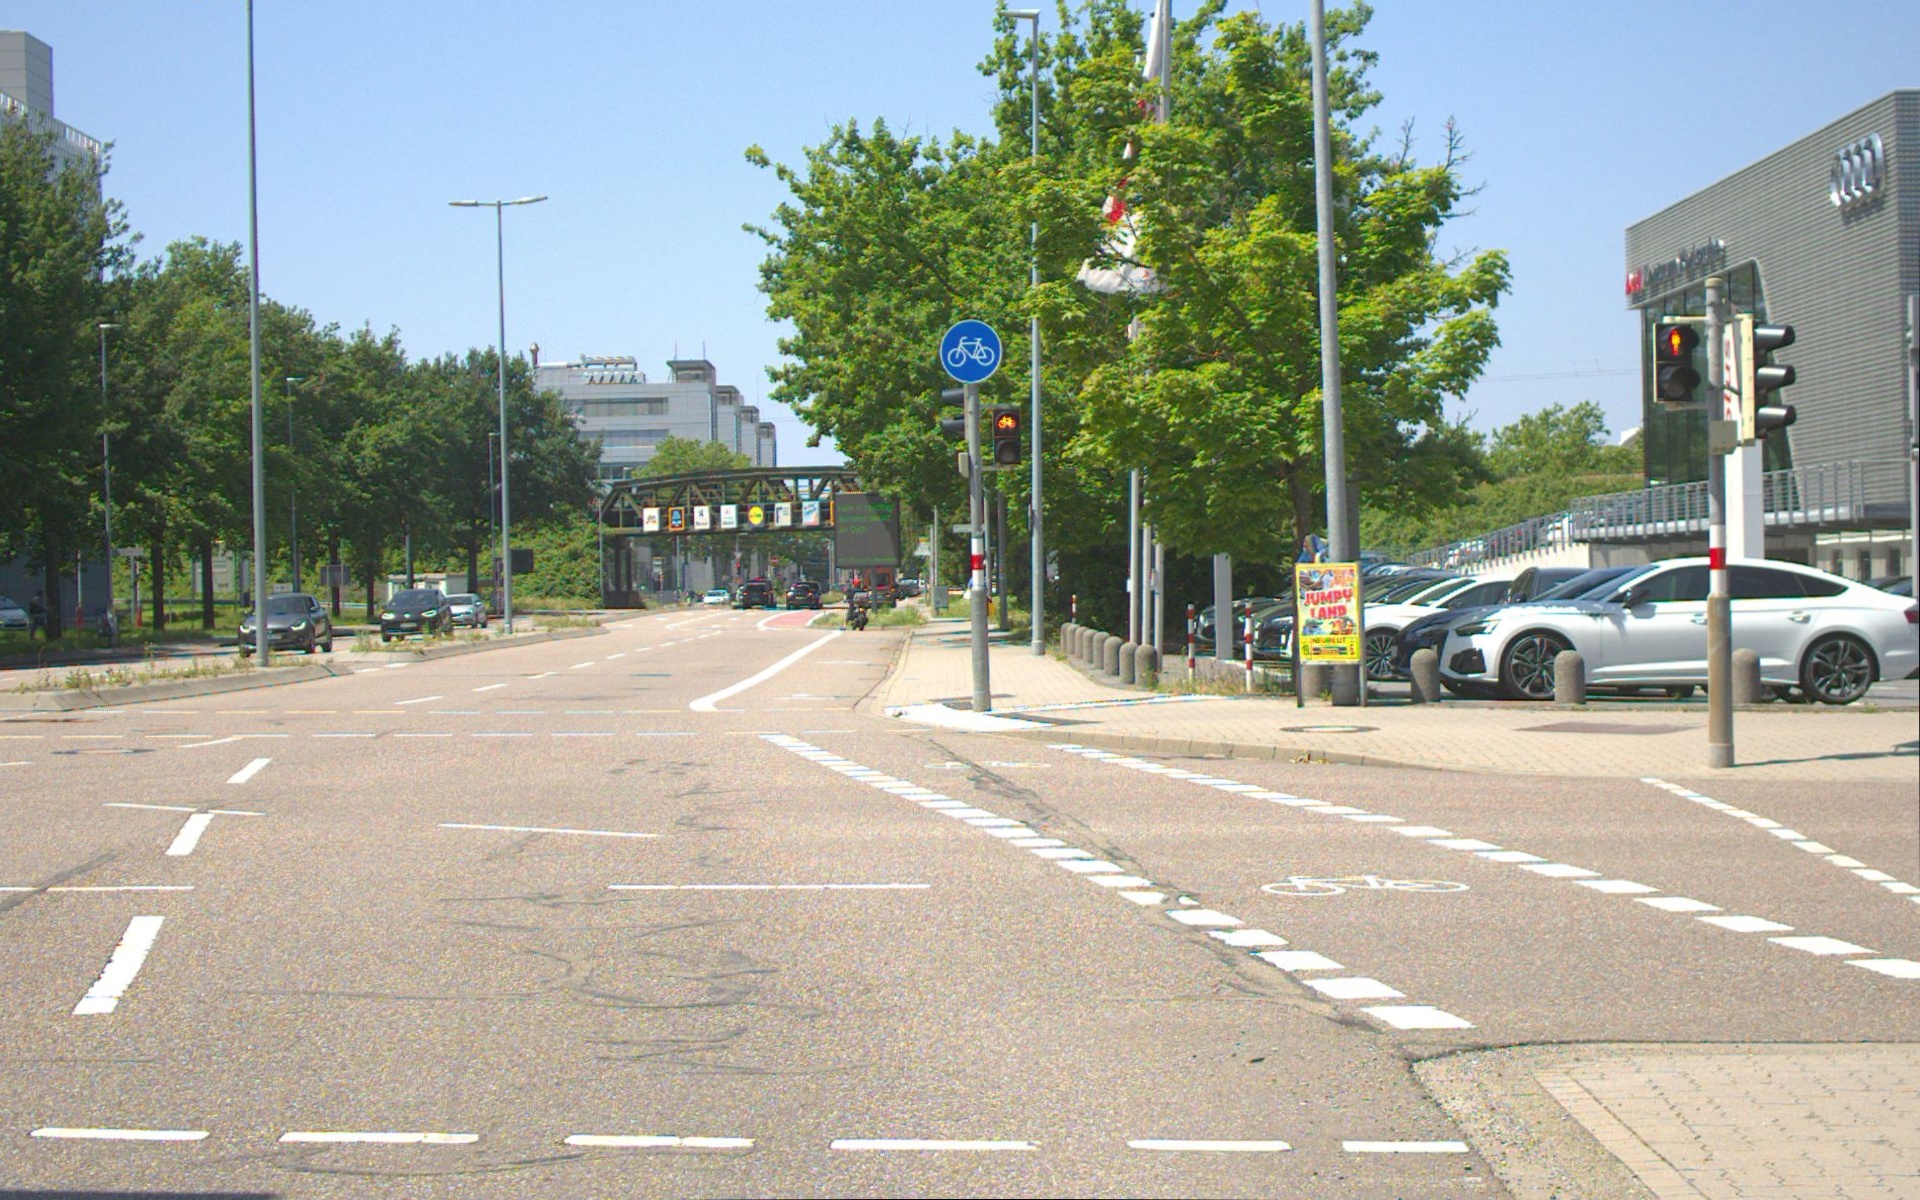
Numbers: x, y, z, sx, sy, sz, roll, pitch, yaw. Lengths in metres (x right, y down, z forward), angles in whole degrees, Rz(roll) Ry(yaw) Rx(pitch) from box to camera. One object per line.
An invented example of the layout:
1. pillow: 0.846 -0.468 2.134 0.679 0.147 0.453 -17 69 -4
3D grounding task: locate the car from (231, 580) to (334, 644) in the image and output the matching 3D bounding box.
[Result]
1. car: -16.199 0.274 82.327 1.732 1.422 3.706 -2 0 -1

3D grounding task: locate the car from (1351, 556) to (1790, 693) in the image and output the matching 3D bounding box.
1. car: 7.000 0.261 39.780 4.741 1.452 2.000 -1 1 2

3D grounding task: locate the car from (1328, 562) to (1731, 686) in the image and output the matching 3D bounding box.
1. car: 7.202 0.288 43.811 4.741 1.452 2.000 -1 1 -2

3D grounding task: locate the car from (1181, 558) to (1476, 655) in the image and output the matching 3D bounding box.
1. car: 6.264 0.098 58.823 4.741 1.452 2.000 -2 1 -2

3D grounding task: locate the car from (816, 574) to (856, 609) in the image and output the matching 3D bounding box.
1. car: -3.781 -0.267 105.202 1.137 1.038 2.308 -1 1 -1

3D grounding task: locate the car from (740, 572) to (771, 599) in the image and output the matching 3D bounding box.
1. car: -13.402 -0.968 225.568 1.772 1.722 4.000 -1 0 -1

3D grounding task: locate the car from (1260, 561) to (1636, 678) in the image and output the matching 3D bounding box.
1. car: 6.555 0.251 46.557 4.741 1.452 2.000 -1 1 -2

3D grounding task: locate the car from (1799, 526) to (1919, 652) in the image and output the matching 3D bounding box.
1. car: 16.137 -0.218 56.873 3.987 2.007 2.000 -1 1 1

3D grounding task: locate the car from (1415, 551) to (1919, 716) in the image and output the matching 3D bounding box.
1. car: 6.899 0.303 33.252 4.741 1.452 2.000 -1 1 2

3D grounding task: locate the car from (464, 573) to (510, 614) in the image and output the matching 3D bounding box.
1. car: -19.761 -0.300 143.609 1.648 1.647 4.164 -1 1 -5

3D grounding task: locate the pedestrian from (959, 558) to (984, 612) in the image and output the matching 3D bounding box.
1. pedestrian: 0.334 -0.435 97.225 0.668 1.505 0.736 -1 0 -1

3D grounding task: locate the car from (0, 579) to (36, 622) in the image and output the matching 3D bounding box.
1. car: -42.862 -0.011 152.656 1.994 1.804 4.028 0 1 -39

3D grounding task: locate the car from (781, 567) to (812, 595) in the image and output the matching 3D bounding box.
1. car: -10.453 -1.233 220.177 1.772 1.722 4.000 -1 0 -1

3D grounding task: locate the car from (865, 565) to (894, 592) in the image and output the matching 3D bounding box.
1. car: -5.152 -1.368 220.810 1.772 1.722 4.000 -1 0 -1

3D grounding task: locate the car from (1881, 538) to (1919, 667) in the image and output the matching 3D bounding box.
1. car: 16.839 -0.009 54.377 3.987 2.007 2.000 -1 1 1

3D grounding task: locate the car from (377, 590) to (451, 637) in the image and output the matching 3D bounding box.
1. car: -16.776 0.403 105.780 1.684 1.406 3.665 -1 0 -1

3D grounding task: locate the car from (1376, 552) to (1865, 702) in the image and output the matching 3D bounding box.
1. car: 6.843 0.282 36.024 4.741 1.452 2.000 -1 0 2
